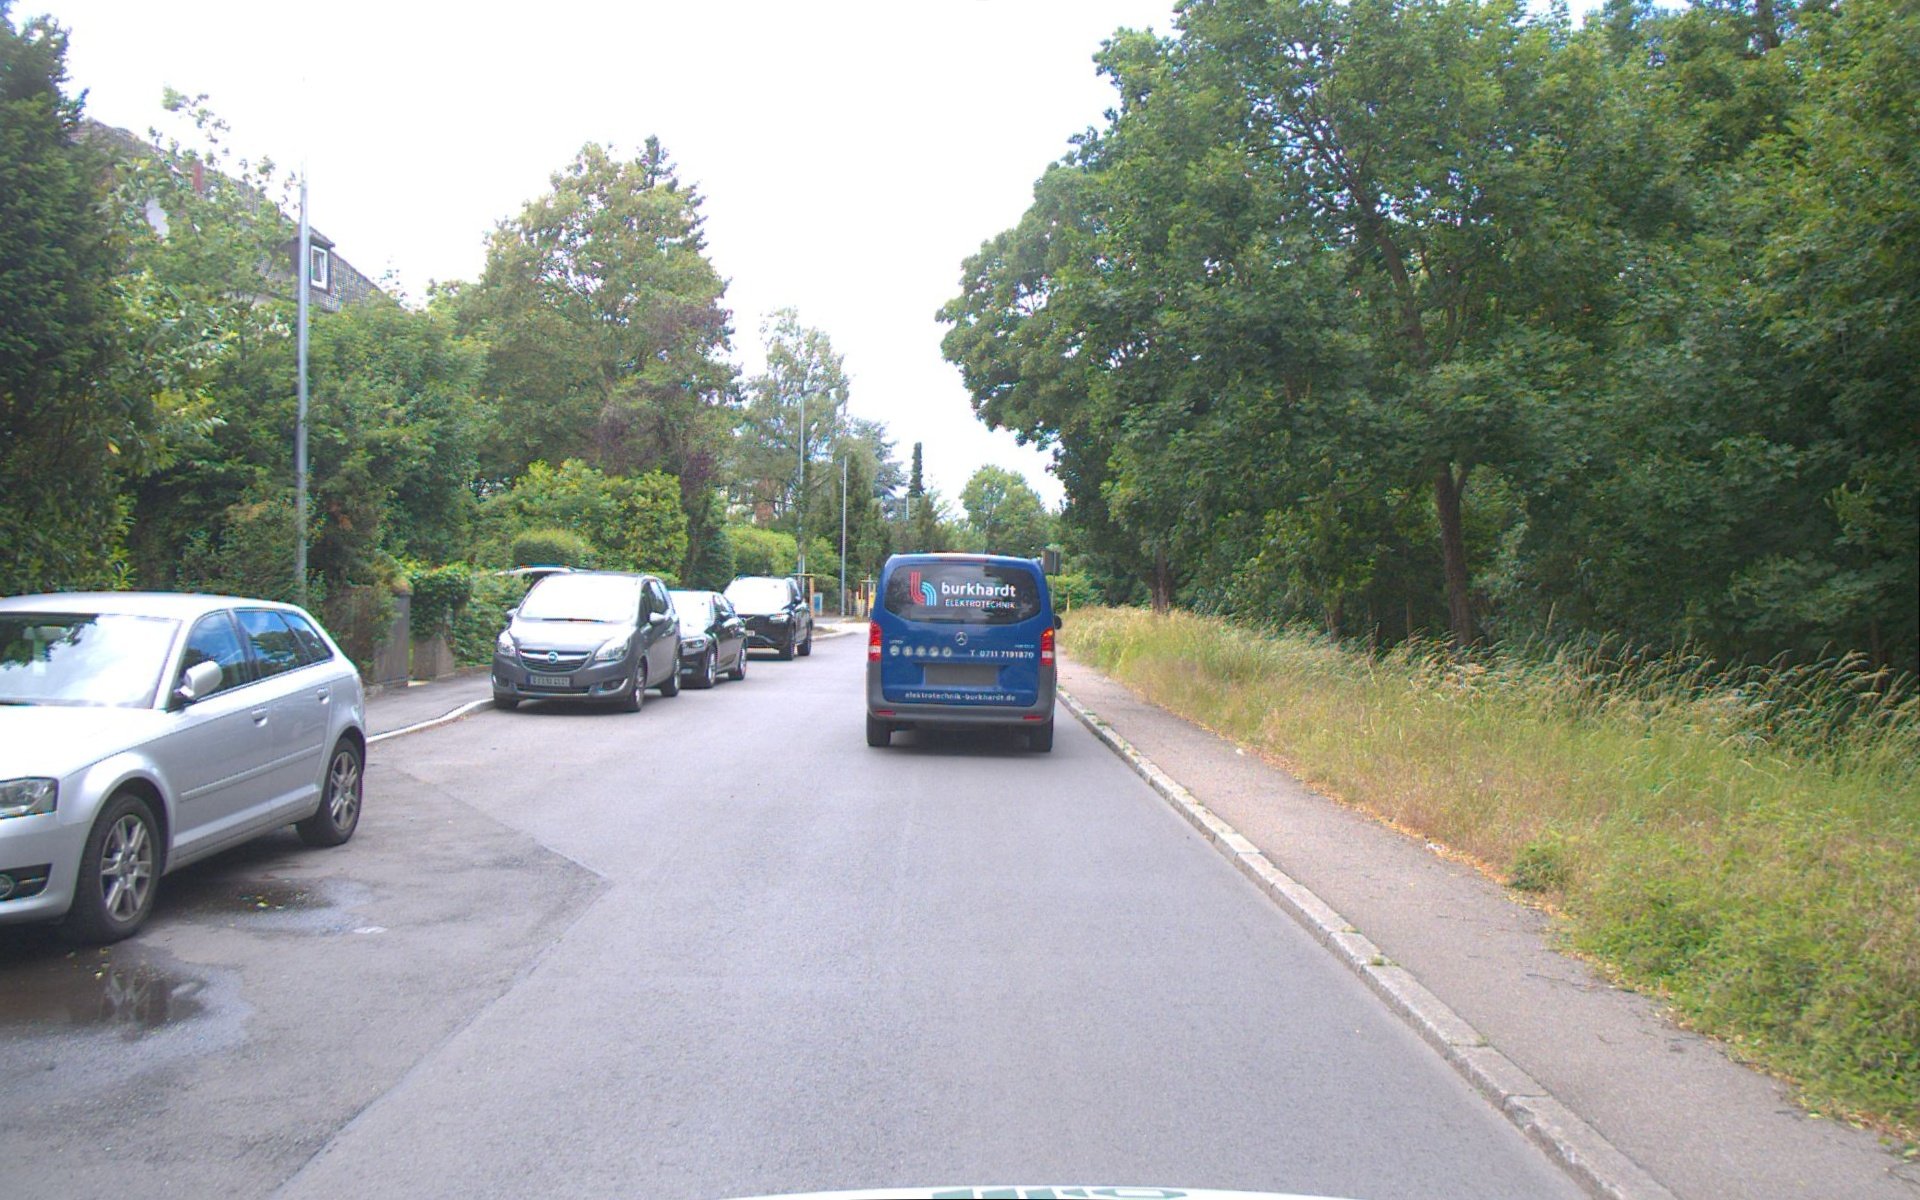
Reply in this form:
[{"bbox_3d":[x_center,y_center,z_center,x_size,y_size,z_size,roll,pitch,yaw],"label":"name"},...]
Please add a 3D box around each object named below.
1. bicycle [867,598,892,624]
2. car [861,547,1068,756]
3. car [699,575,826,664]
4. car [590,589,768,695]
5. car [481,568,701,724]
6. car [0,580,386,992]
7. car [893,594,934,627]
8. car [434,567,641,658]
[{"bbox_3d":[-4.139,0.575,85.185,0.887,1.273,2.917,4,0,3],"label":"bicycle"},{"bbox_3d":[-0.069,0.416,17.246,1.851,1.876,3.998,2,2,-3],"label":"car"},{"bbox_3d":[-4.288,0.398,36.795,1.933,1.767,5.191,2,0,2],"label":"car"},{"bbox_3d":[-4.295,0.598,26.070,1.718,1.437,4.900,2,0,2],"label":"car"},{"bbox_3d":[-4.451,0.506,20.620,1.696,1.661,4.568,2,0,-1],"label":"car"},{"bbox_3d":[-4.249,0.659,7.940,1.590,1.475,4.092,0,0,-1],"label":"car"},{"bbox_3d":[-2.444,0.550,88.050,1.798,1.659,4.302,3,0,3],"label":"car"},{"bbox_3d":[-8.630,0.251,33.906,3.613,1.666,1.829,2,0,13],"label":"car"}]
